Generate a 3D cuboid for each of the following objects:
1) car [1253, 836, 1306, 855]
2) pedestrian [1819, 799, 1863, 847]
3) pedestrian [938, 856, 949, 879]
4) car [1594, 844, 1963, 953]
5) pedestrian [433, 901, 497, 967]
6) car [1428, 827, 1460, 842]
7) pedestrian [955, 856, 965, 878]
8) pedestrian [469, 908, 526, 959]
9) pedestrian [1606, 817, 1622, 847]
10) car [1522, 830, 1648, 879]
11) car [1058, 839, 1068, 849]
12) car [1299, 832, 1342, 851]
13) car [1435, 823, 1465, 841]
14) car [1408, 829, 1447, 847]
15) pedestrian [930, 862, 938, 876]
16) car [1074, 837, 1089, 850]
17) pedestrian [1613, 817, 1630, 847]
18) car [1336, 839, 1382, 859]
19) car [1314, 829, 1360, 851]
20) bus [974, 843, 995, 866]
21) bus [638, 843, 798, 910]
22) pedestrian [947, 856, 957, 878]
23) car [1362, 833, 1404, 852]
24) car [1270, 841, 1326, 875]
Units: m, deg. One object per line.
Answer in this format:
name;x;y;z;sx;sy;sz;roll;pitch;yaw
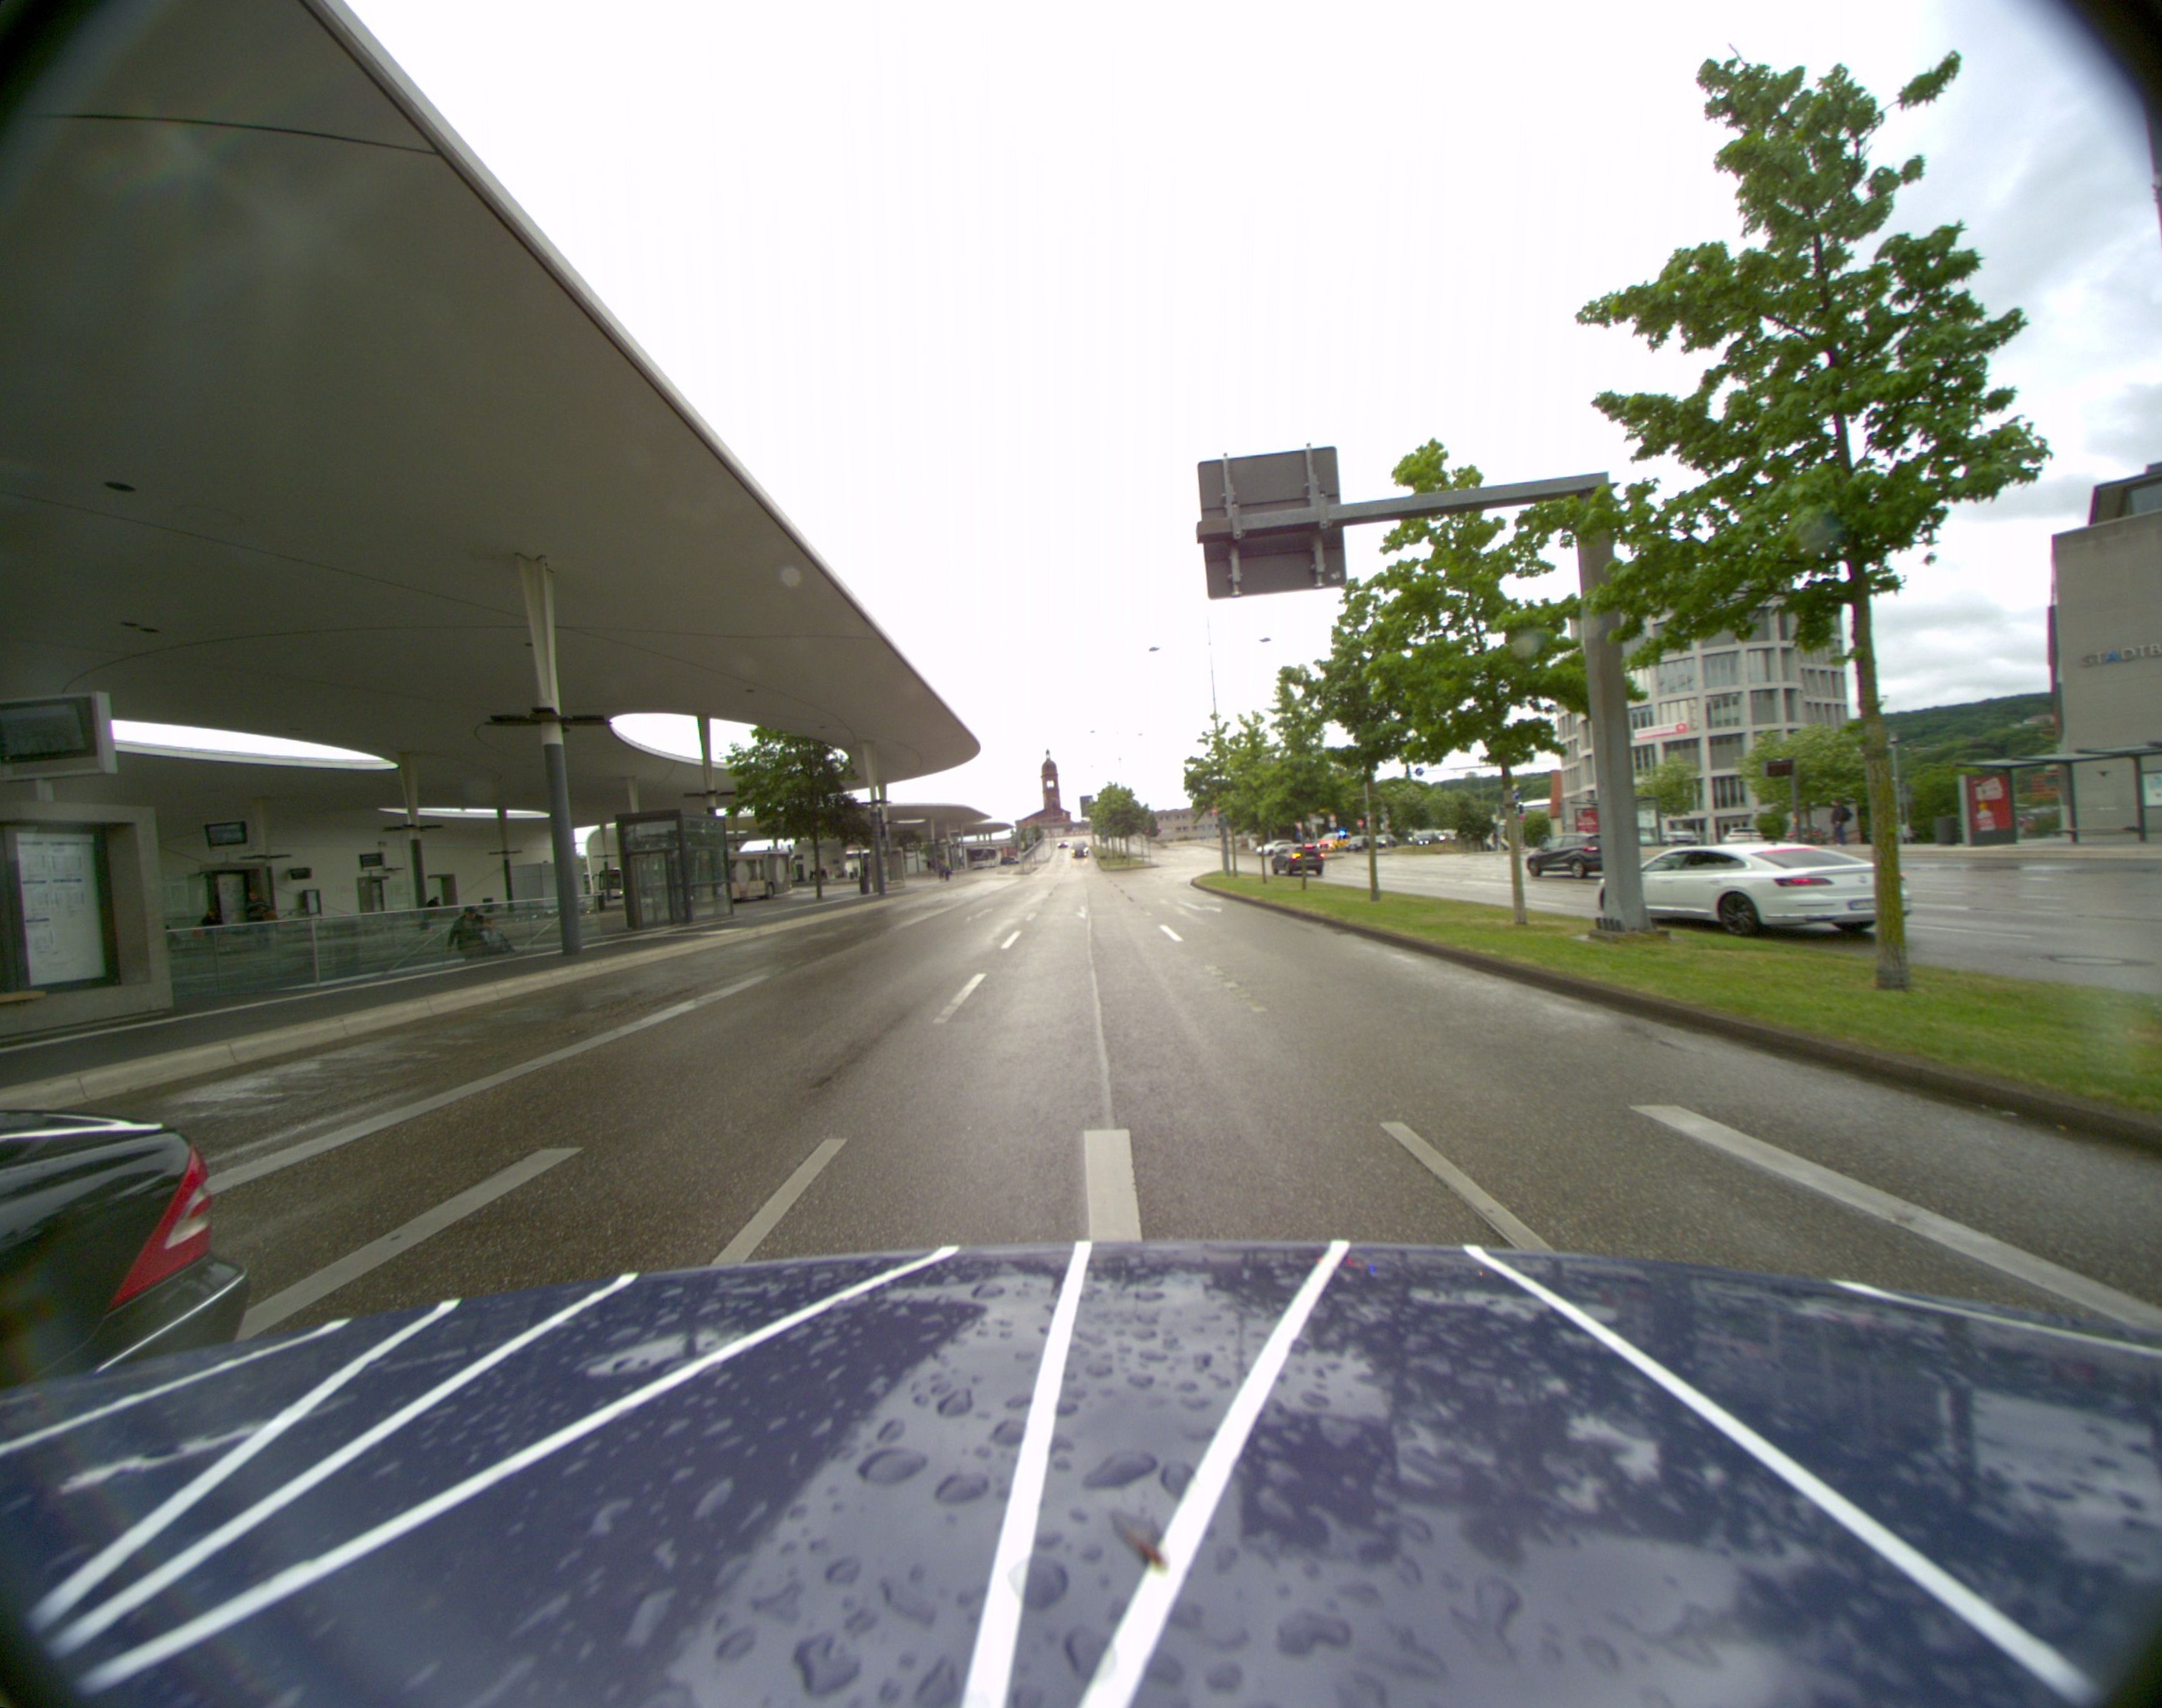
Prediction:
car;20.783;-0.854;79.615;4.921;1.702;2.192;-3;1;-21
pedestrian;28.987;-1.172;28.995;0.787;1.750;0.972;-3;1;-28
pedestrian;-10.229;1.006;56.484;0.576;1.614;0.588;-3;1;1
car;10.988;0.583;12.612;1.728;1.373;4.859;-3;0;2
pedestrian;-12.666;1.635;15.639;0.693;1.244;0.669;-3;1;1
car;47.904;-2.577;100.134;4.925;1.702;2.190;-3;1;-45
pedestrian;-8.961;0.959;56.357;0.557;1.614;0.552;-3;1;1
pedestrian;-11.983;1.629;15.622;0.622;0.957;0.638;-3;1;1
pedestrian;29.492;-1.208;42.016;0.504;1.625;0.502;-2;1;1
car;17.604;-0.004;26.811;1.775;1.522;4.078;-3;0;2
car;-3.180;-1.709;134.864;1.704;1.656;3.998;-2;1;-2
car;25.871;-1.367;82.150;4.004;1.783;1.996;-3;1;-24
car;44.637;-2.683;91.828;1.995;2.002;4.007;-3;0;44
car;38.363;-1.753;84.048;4.925;1.702;2.190;-3;1;-43
pedestrian;-17.692;1.852;91.727;0.723;1.621;0.753;-3;1;0
car;0.061;-1.371;101.407;1.704;1.656;3.998;-2;1;-2
pedestrian;30.041;-1.235;42.250;0.520;1.625;0.536;-2;1;1
car;27.452;-0.543;75.058;4.925;1.702;2.190;-3;1;-43
car;26.182;-1.466;77.678;5.043;2.002;2.304;-3;1;-43
bus;-14.319;0.066;113.267;2.675;3.111;9.712;-3;0;-5
bus;-19.791;1.064;42.824;3.003;3.088;12.353;-3;0;0
pedestrian;-9.554;0.984;56.325;0.557;1.614;0.552;-3;1;1
car;32.296;-1.228;81.165;4.925;1.702;2.190;-3;1;-43
car;11.637;0.172;41.015;1.826;1.630;4.600;-3;0;3
